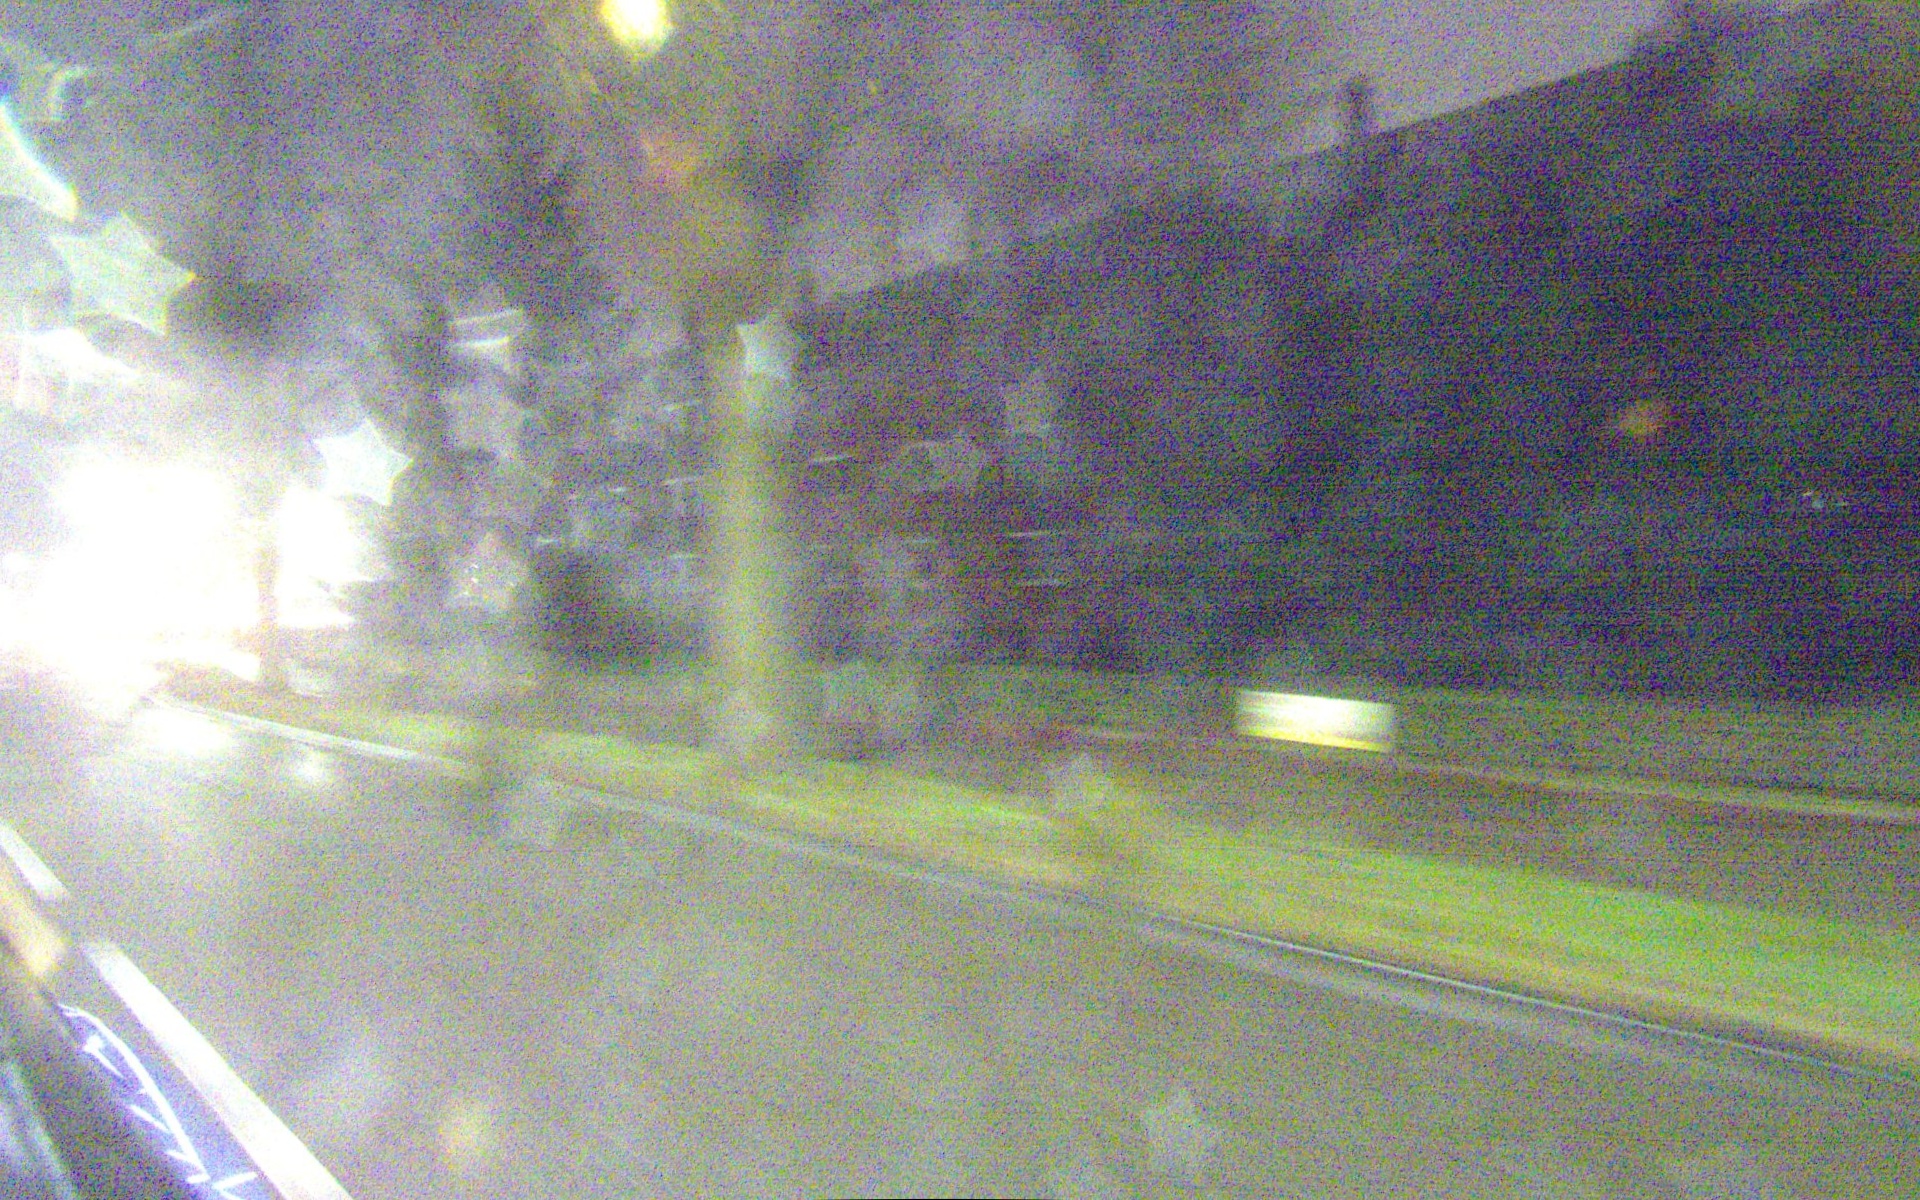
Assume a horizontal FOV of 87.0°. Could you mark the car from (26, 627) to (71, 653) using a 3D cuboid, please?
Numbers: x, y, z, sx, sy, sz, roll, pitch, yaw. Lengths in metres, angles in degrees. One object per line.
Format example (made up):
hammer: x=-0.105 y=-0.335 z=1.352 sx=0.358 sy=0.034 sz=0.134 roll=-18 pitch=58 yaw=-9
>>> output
car: x=-58.402 y=2.540 z=64.899 sx=1.969 sy=1.466 sz=4.309 roll=5 pitch=-4 yaw=-41

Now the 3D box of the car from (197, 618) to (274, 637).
car: x=-61.946 y=2.304 z=86.611 sx=1.994 sy=1.477 sz=5.042 roll=-1 pitch=0 yaw=33

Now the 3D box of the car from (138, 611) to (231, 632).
car: x=-68.700 y=1.871 z=89.795 sx=1.988 sy=1.829 sz=6.389 roll=0 pitch=-1 yaw=24

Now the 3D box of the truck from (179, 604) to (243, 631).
truck: x=-71.969 y=1.657 z=97.438 sx=2.283 sy=2.415 sz=7.835 roll=0 pitch=-1 yaw=-15

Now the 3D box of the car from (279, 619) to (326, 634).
car: x=-76.339 y=3.027 z=117.631 sx=4.354 sy=1.634 sz=2.007 roll=0 pitch=-1 yaw=-25
